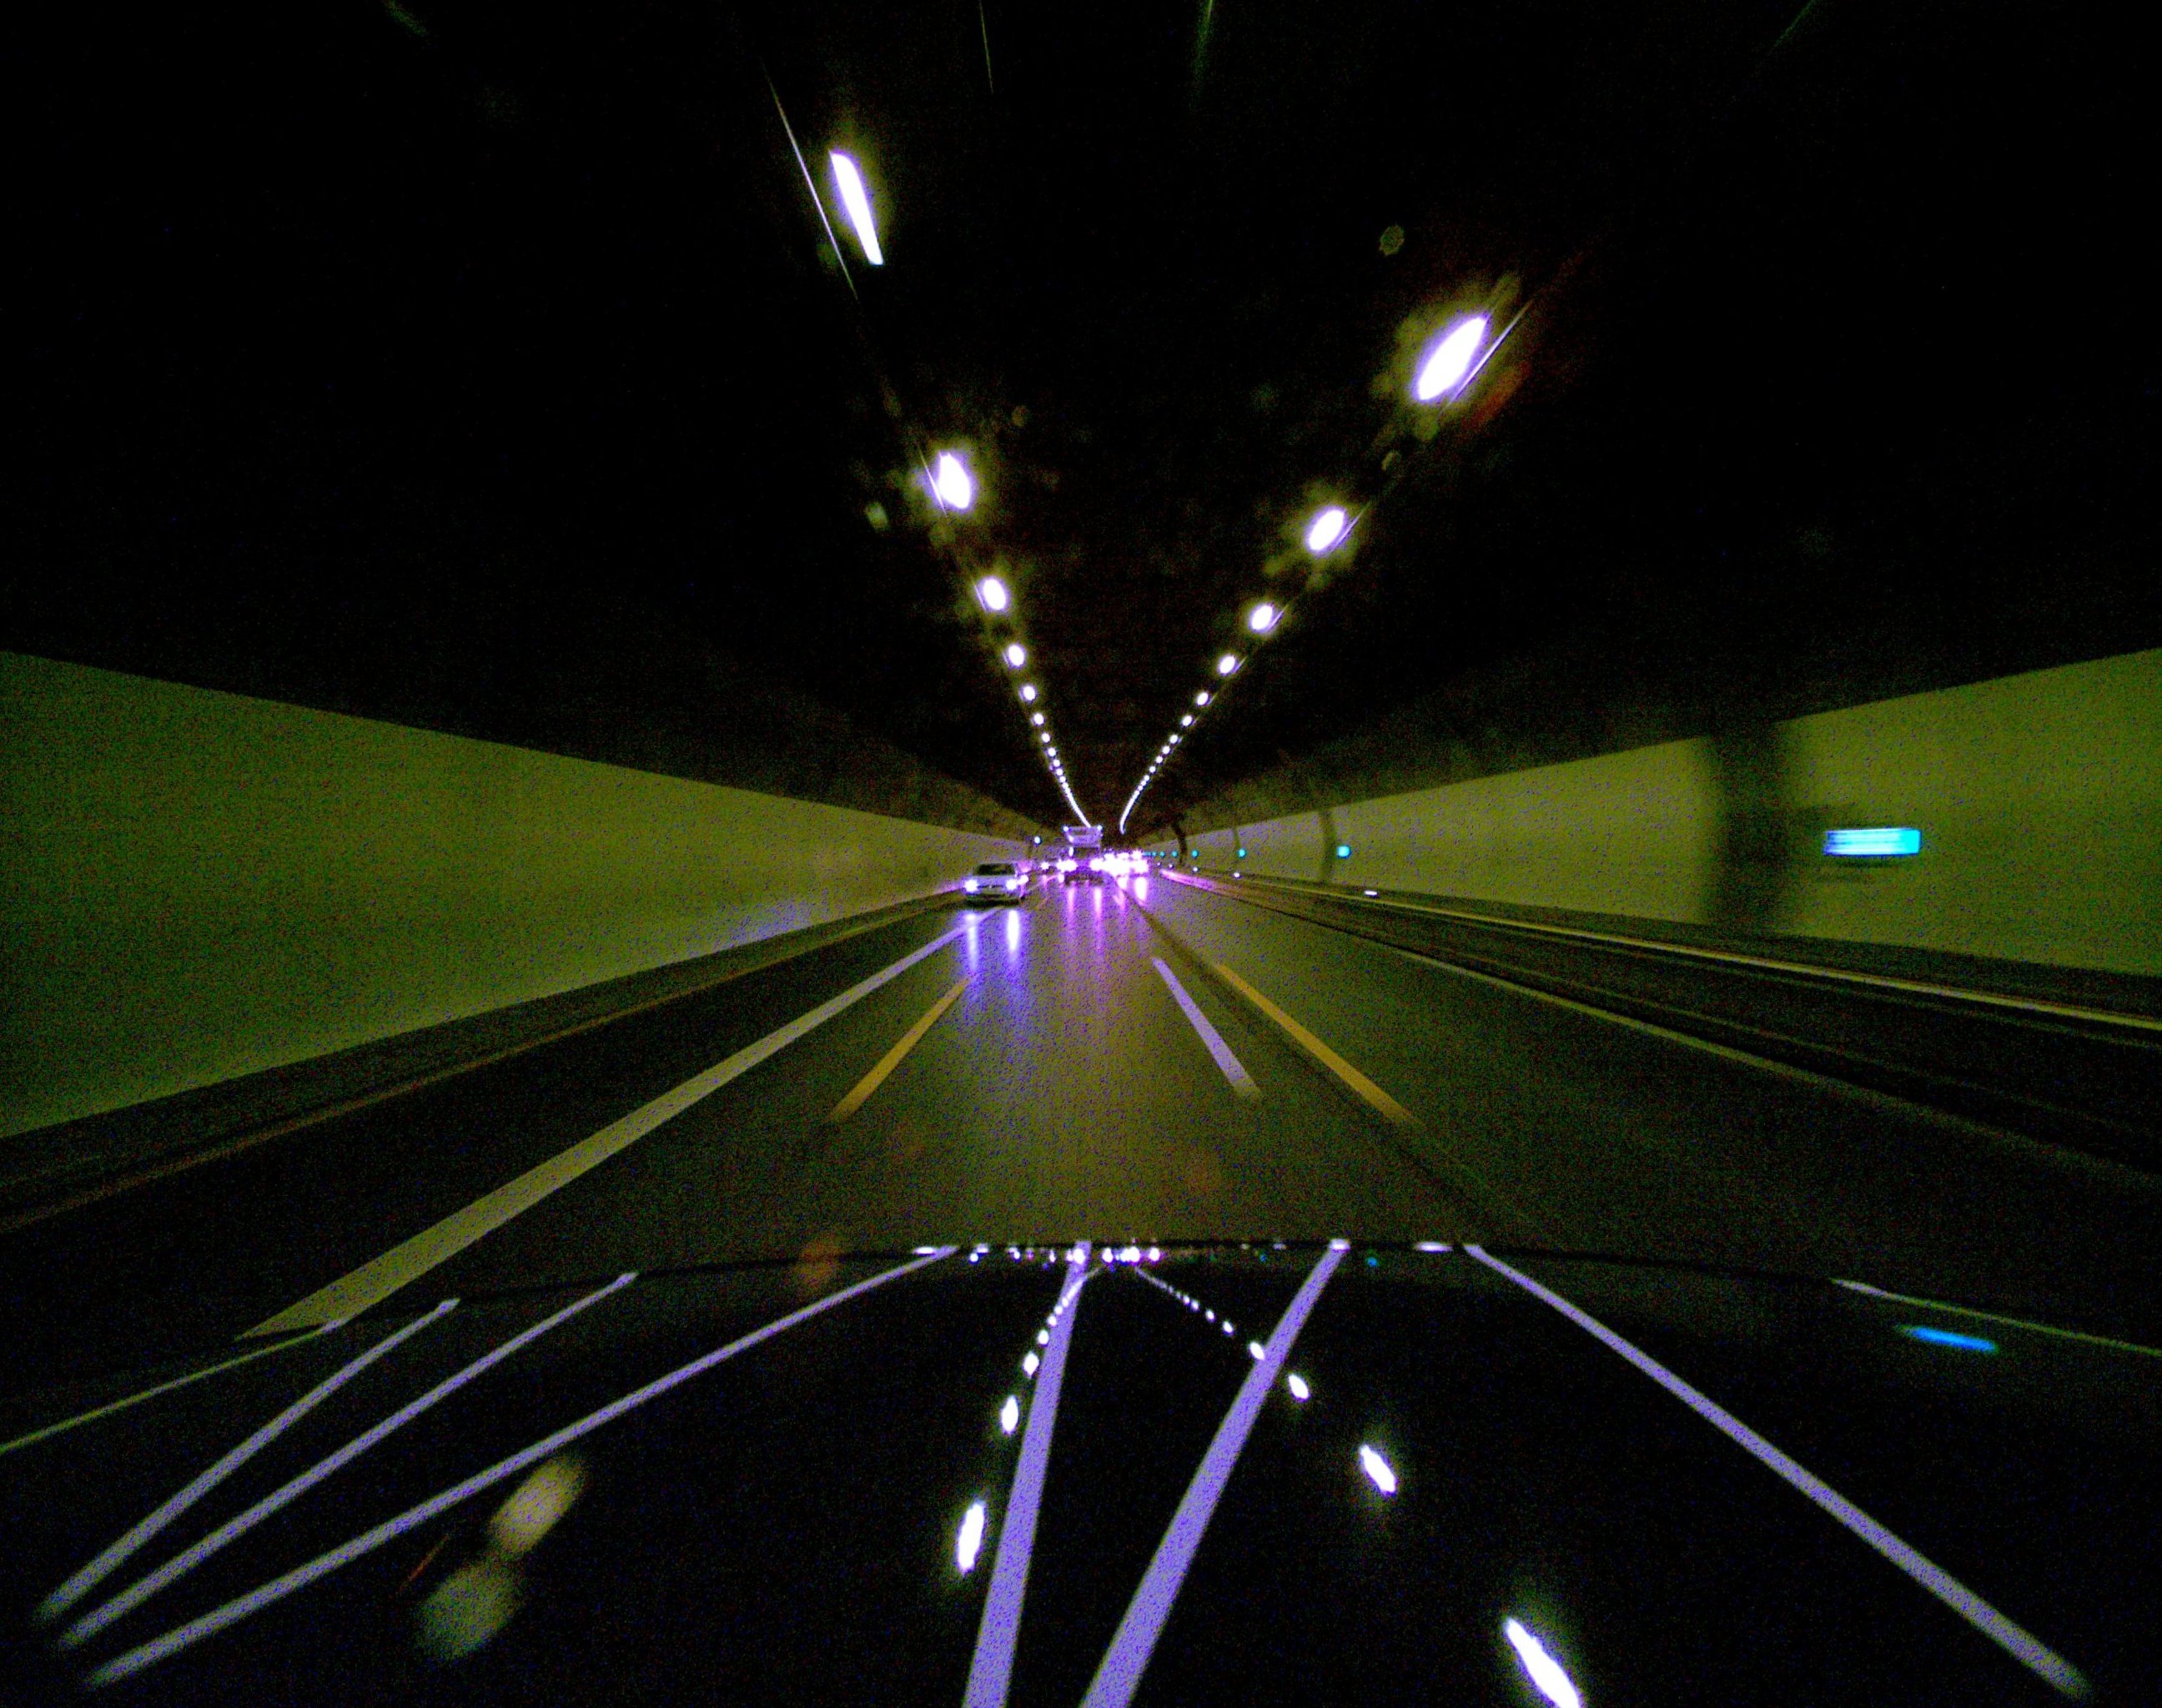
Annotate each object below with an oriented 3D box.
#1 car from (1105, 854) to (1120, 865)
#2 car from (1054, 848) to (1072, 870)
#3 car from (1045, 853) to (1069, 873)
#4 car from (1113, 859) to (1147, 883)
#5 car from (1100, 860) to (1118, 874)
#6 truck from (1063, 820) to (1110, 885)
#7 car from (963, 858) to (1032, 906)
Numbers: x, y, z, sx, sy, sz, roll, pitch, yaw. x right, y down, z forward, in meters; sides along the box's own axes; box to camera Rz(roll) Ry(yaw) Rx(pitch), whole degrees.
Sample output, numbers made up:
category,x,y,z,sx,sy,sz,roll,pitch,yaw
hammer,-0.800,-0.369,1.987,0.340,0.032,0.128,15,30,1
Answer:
category,x,y,z,sx,sy,sz,roll,pitch,yaw
car,5.243,0.952,127.640,1.958,1.528,4.757,-6,1,-1
car,-2.279,0.585,98.692,2.124,2.629,6.228,-4,1,-1
car,-2.137,0.776,68.032,1.958,1.528,4.757,-4,1,-1
car,3.398,1.161,53.377,1.908,1.476,4.943,-2,0,-1
car,2.980,1.355,80.778,1.657,1.395,3.656,-2,1,-1
truck,0.238,-0.104,43.341,2.262,3.238,7.381,-3,1,-1
car,-2.747,0.906,25.878,1.801,1.452,4.035,-1,0,1
